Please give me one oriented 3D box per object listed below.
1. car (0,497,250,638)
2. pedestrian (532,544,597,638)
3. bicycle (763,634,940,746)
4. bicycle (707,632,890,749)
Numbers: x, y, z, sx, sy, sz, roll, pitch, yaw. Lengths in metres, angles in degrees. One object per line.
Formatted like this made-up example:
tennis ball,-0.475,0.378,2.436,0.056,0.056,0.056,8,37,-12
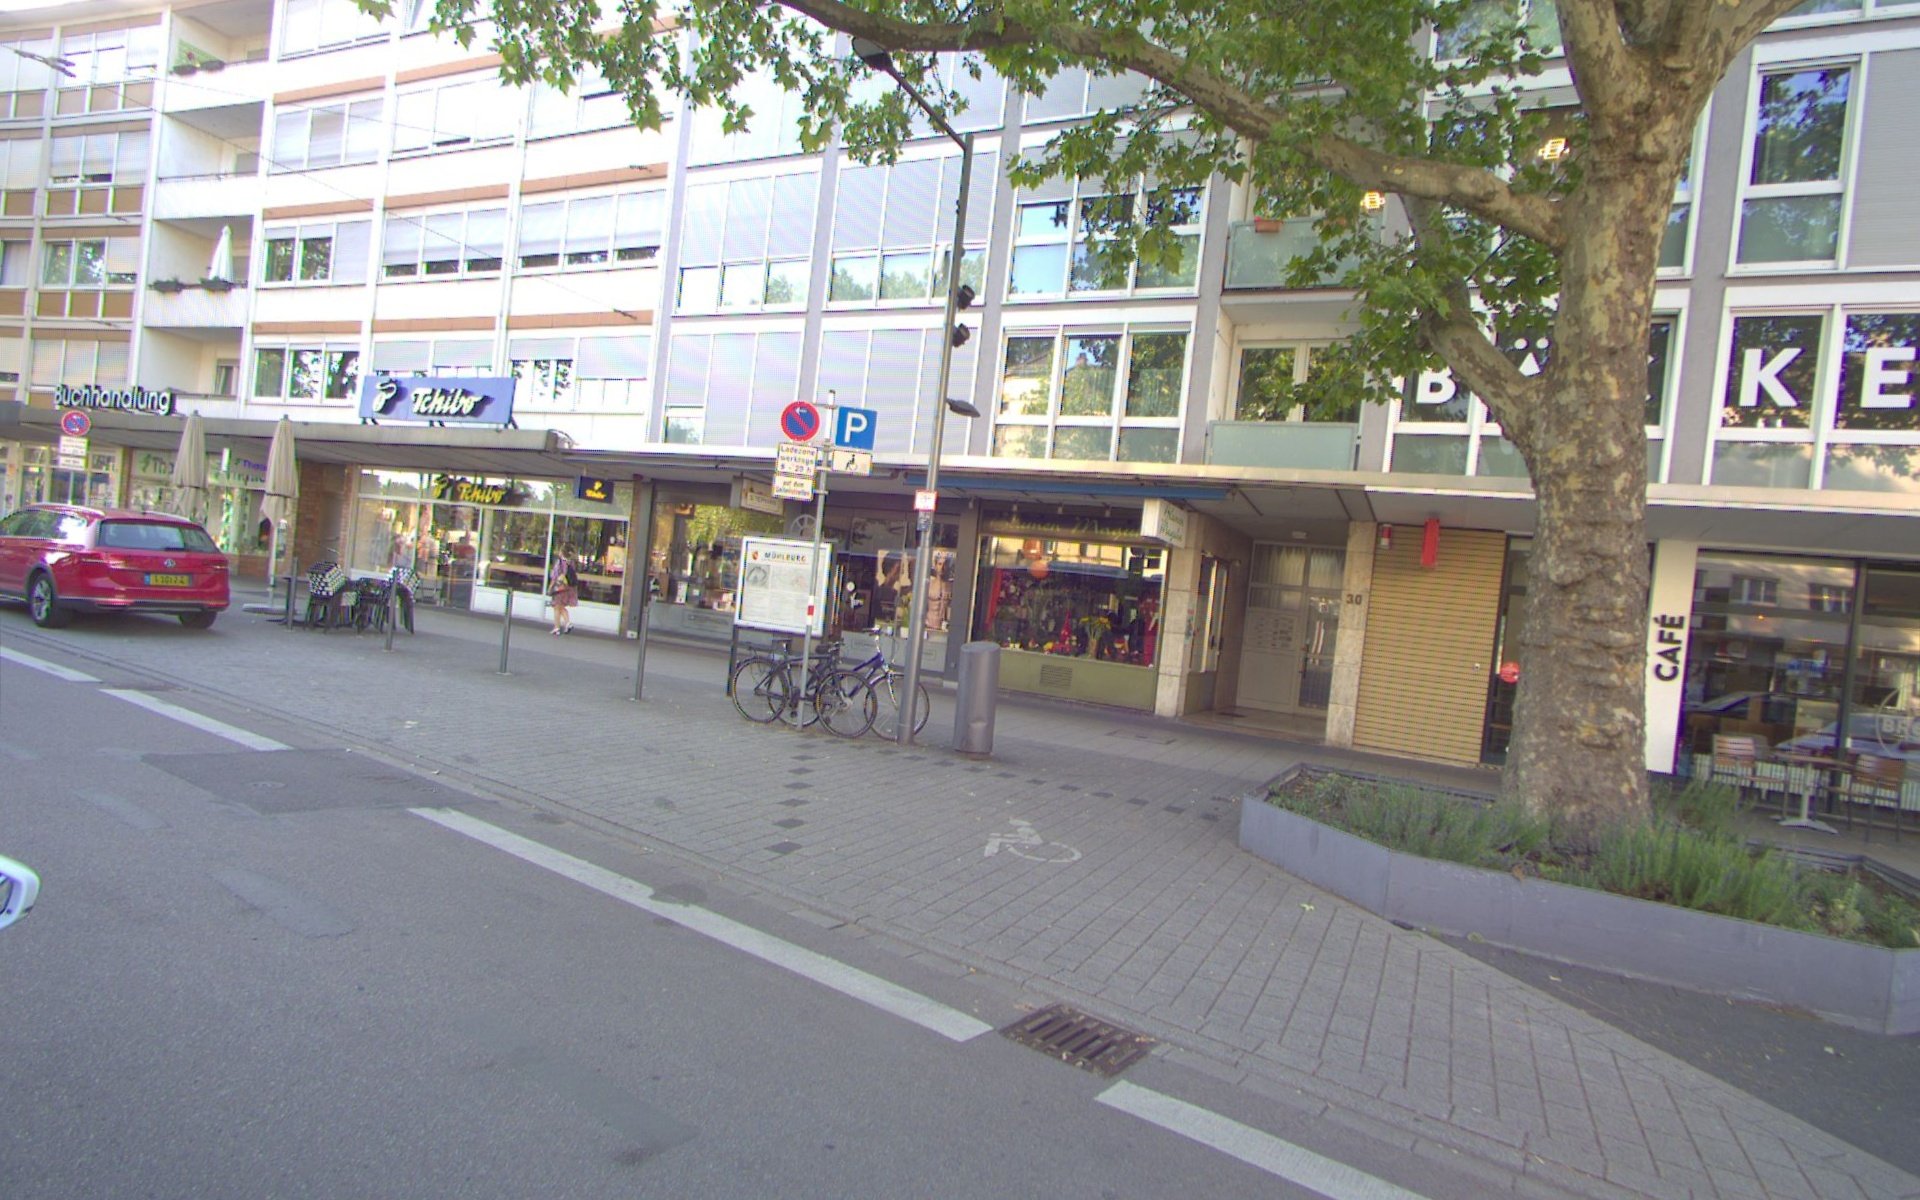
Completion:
car,-11.657,-0.494,13.455,4.229,1.502,1.772,6,1,28
pedestrian,-7.219,-0.162,18.383,0.776,1.613,0.651,7,3,26
bicycle,-1.141,0.928,10.560,1.743,0.931,0.391,6,2,12
bicycle,-1.646,0.898,10.239,1.743,0.951,0.391,6,2,12
